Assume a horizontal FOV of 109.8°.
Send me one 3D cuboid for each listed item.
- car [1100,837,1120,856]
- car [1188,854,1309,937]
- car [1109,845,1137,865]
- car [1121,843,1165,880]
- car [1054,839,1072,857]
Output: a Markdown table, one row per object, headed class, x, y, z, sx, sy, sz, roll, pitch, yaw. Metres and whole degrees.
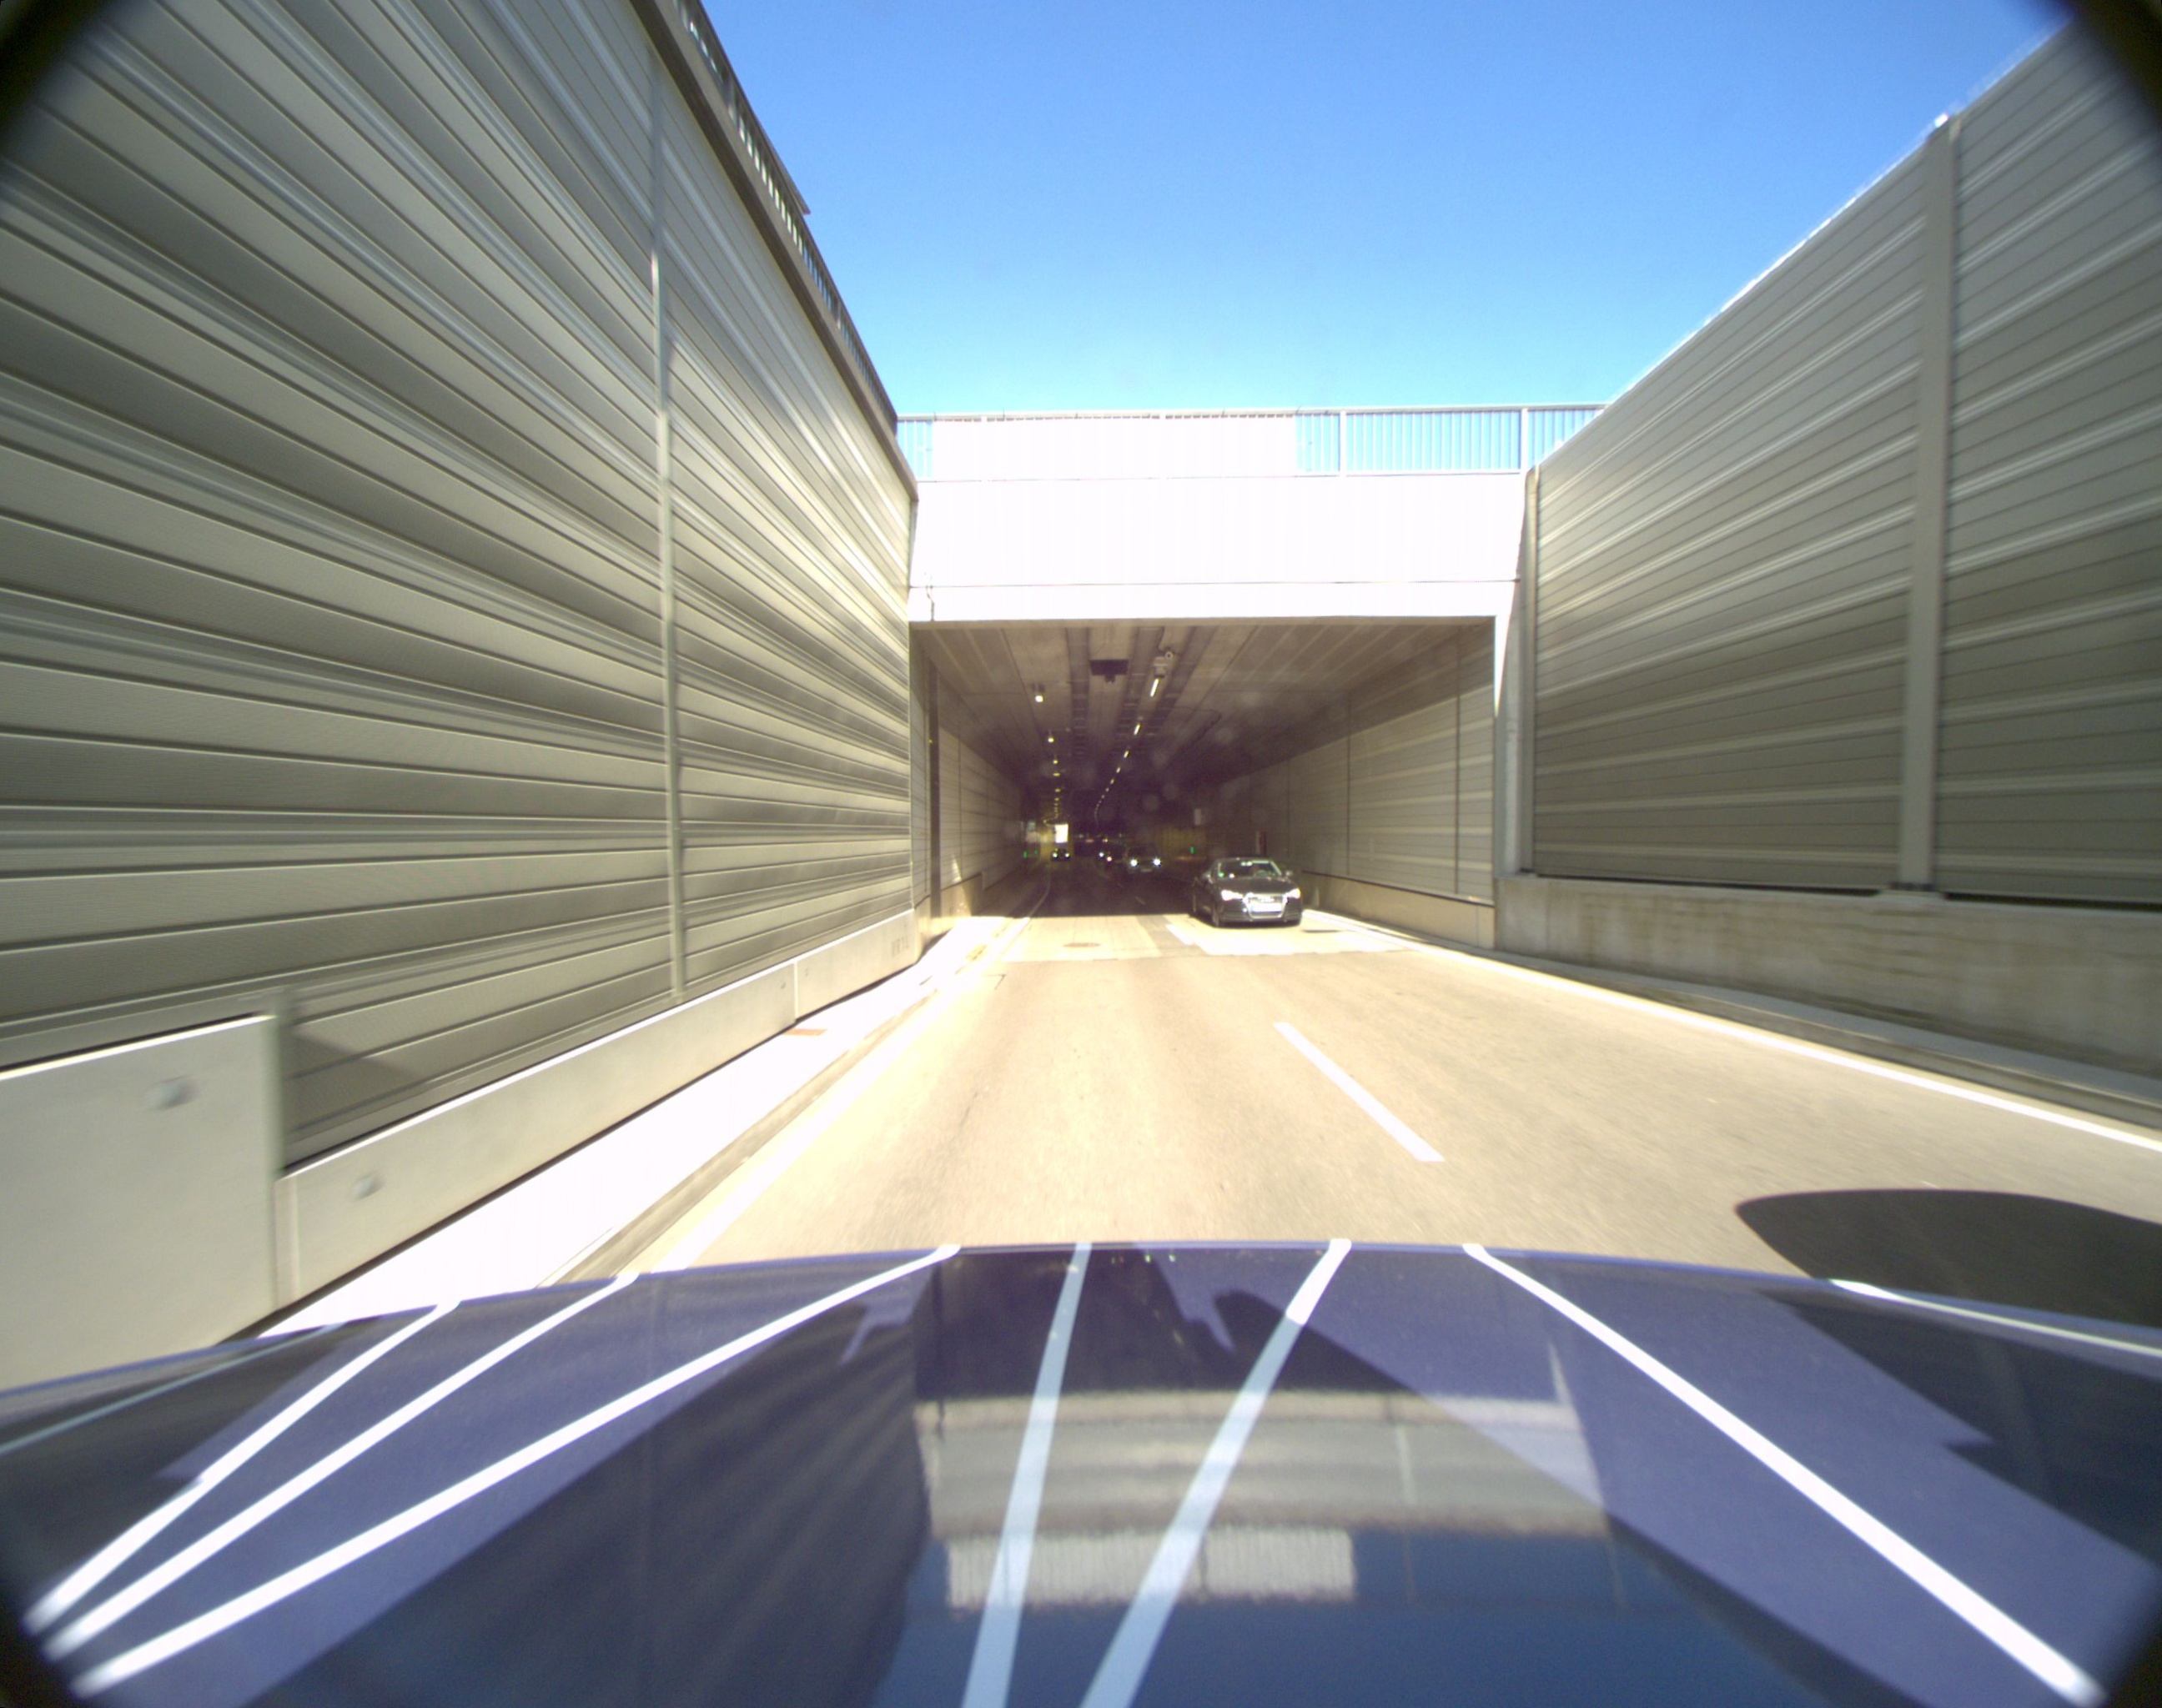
| class | x | y | z | sx | sy | sz | roll | pitch | yaw |
| --- | --- | --- | --- | --- | --- | --- | --- | --- | --- |
| car | 3.202 | -0.875 | 84.340 | 1.999 | 2.002 | 3.999 | -2 | 1 | 0 |
| car | 3.357 | 0.763 | 15.938 | 1.700 | 1.410 | 3.887 | -2 | 1 | 1 |
| car | 3.227 | 0.078 | 59.100 | 1.998 | 1.407 | 4.000 | -2 | 0 | 1 |
| car | 2.953 | 0.332 | 36.861 | 1.854 | 1.658 | 3.970 | -1 | 0 | 1 |
| car | -2.031 | -0.694 | 87.044 | 1.785 | 2.002 | 3.908 | -2 | 1 | 0 |
